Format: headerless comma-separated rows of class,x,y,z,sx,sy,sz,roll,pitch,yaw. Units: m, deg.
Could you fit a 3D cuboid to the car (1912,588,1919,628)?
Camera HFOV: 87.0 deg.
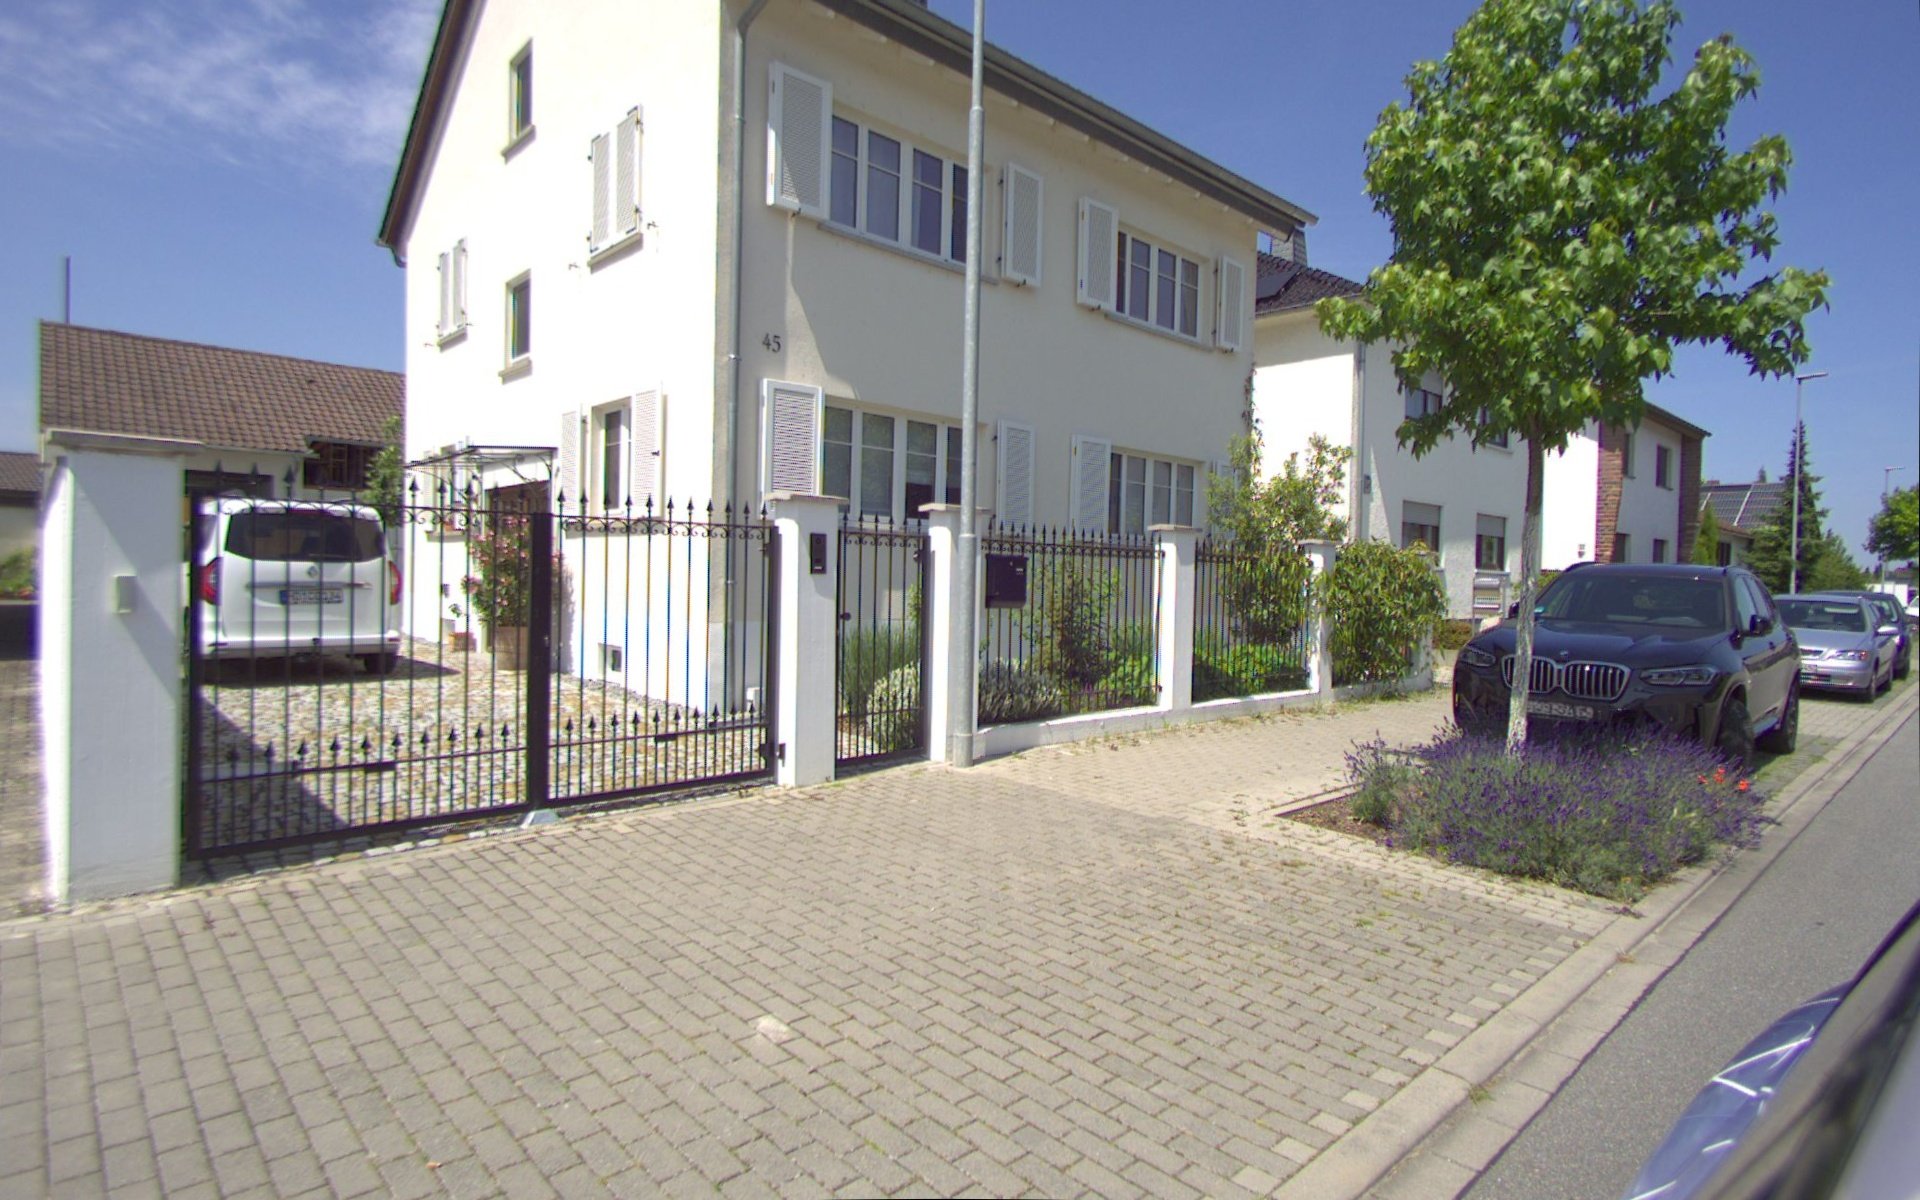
car,36.272,0.306,37.070,3.803,1.438,1.816,0,2,-44

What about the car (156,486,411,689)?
car,-7.407,-0.171,10.967,1.742,1.835,3.389,0,2,-44

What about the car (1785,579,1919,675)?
car,16.778,0.415,18.866,1.742,1.552,4.377,2,2,45

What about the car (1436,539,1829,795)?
car,6.020,0.419,8.813,4.486,1.677,1.817,0,1,-43

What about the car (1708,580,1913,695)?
car,12.674,0.461,14.996,4.023,1.438,1.817,0,2,-43
